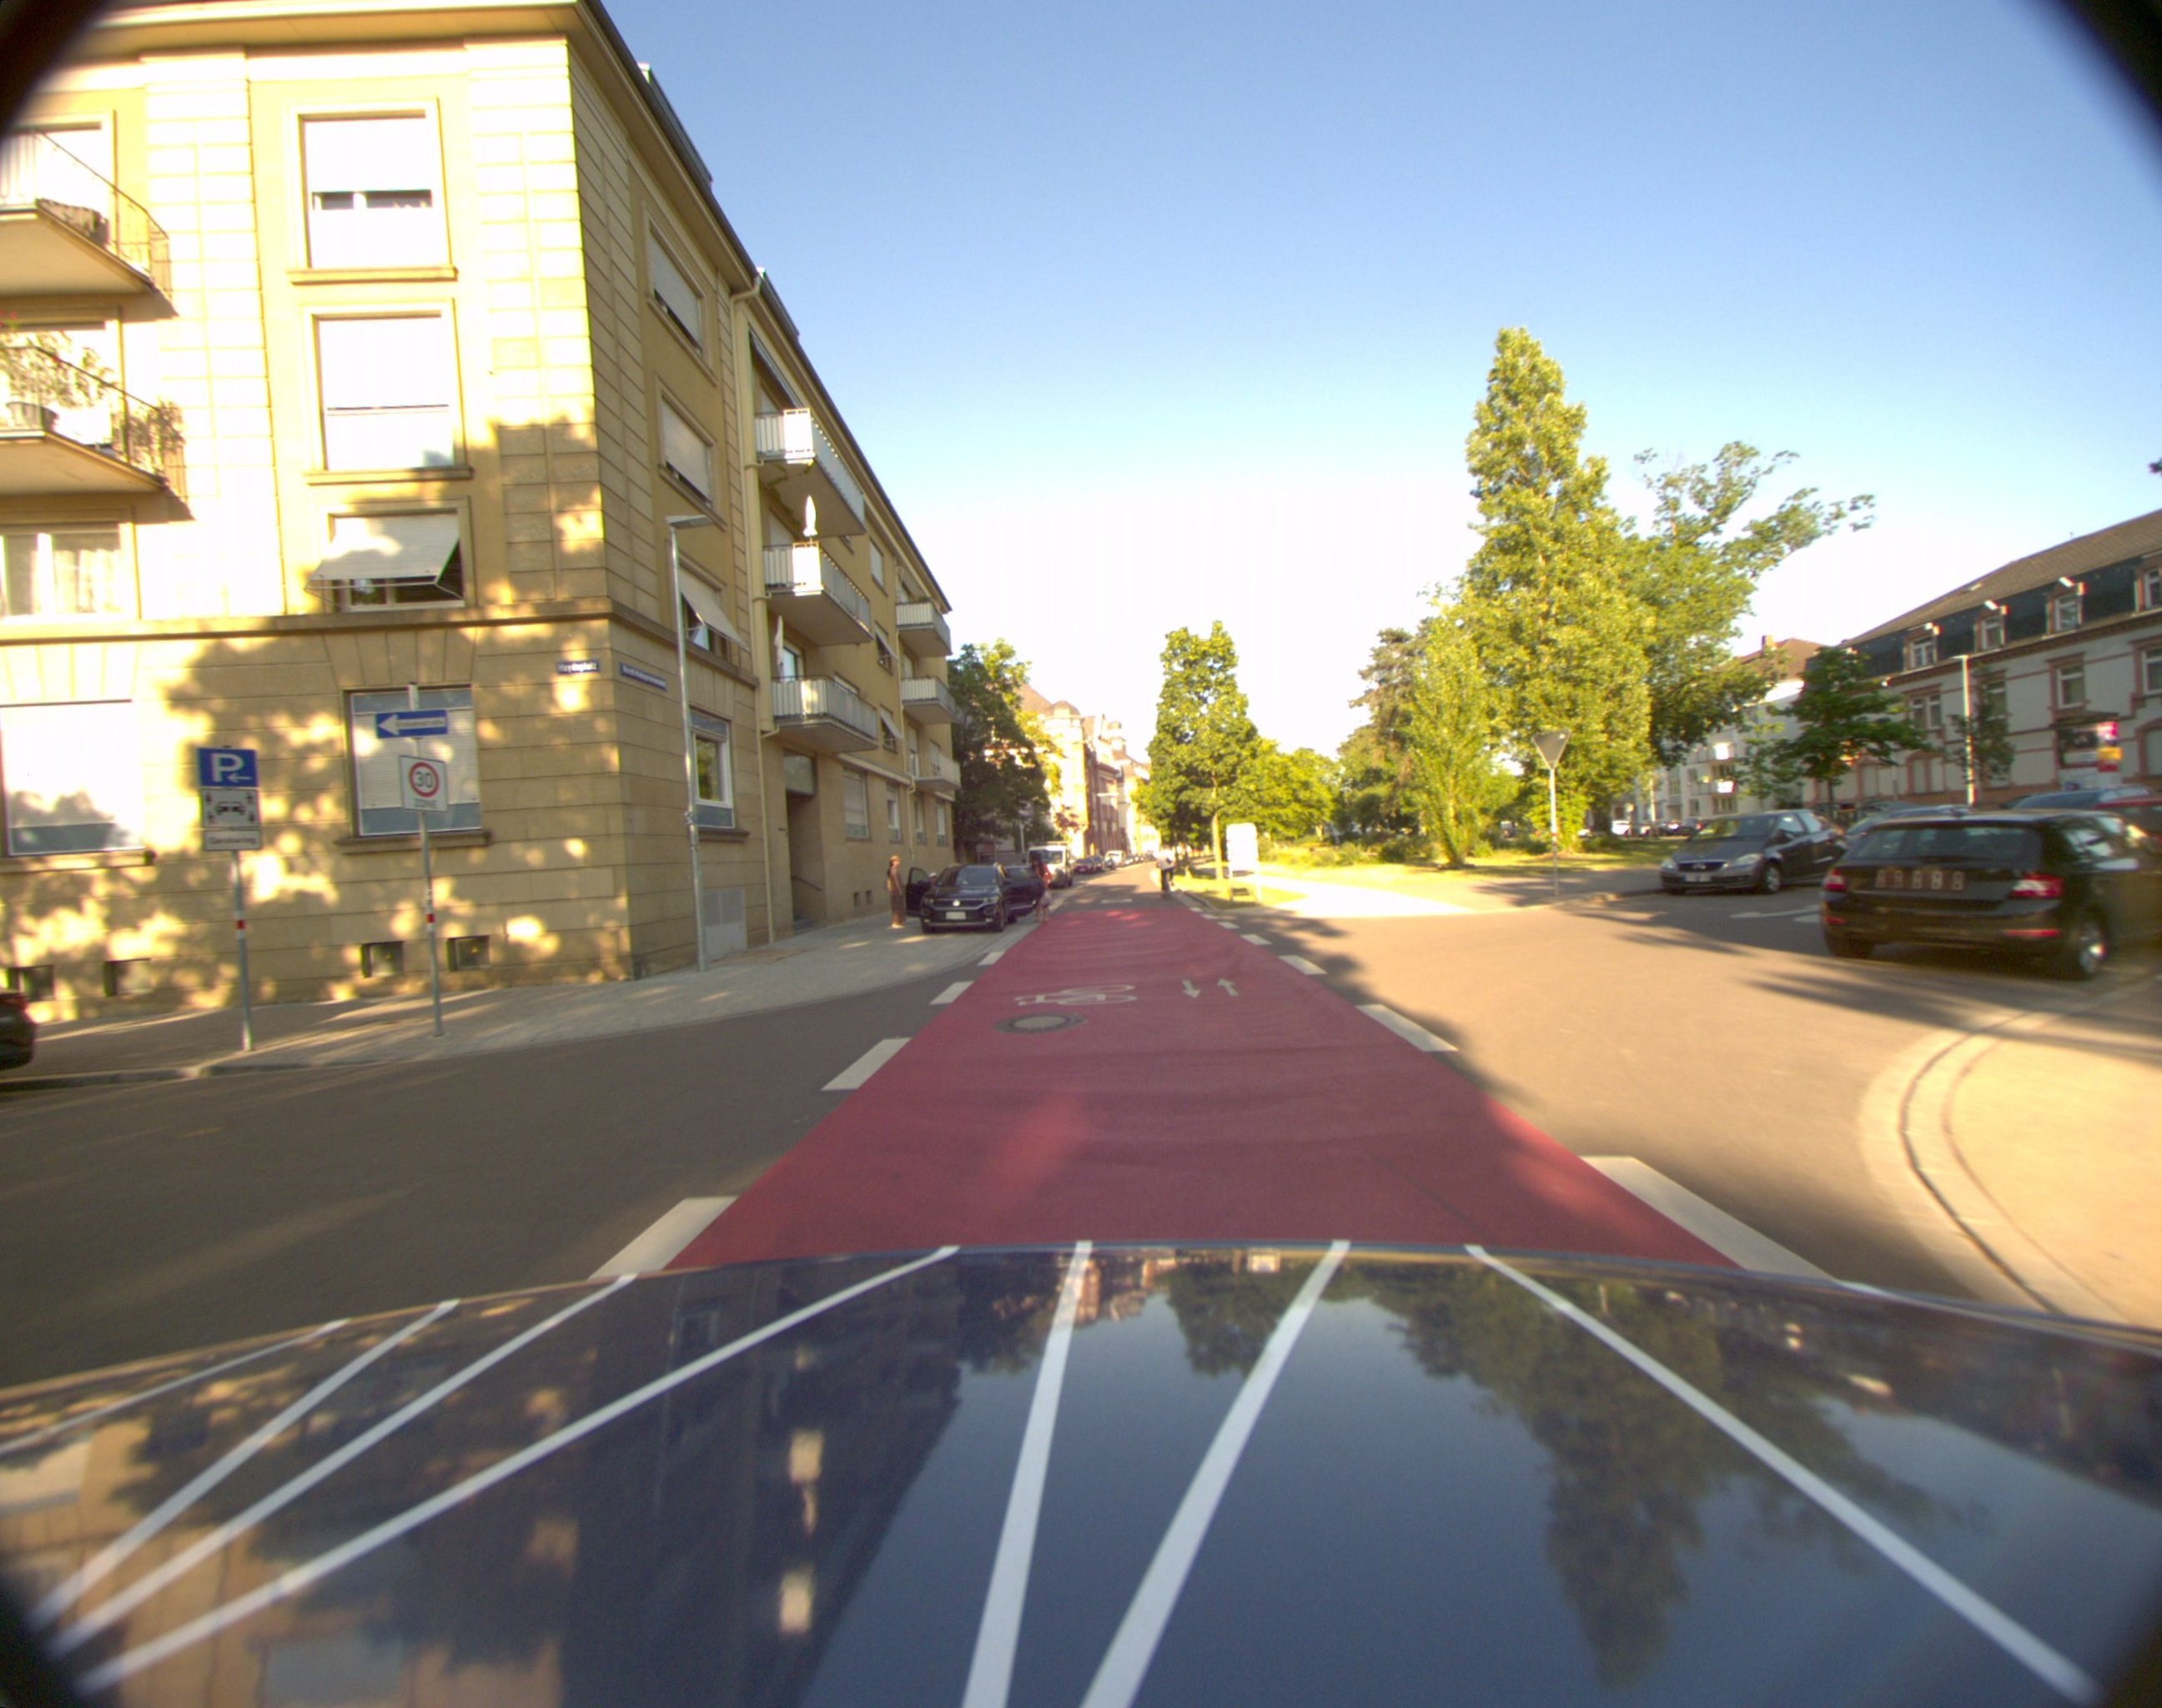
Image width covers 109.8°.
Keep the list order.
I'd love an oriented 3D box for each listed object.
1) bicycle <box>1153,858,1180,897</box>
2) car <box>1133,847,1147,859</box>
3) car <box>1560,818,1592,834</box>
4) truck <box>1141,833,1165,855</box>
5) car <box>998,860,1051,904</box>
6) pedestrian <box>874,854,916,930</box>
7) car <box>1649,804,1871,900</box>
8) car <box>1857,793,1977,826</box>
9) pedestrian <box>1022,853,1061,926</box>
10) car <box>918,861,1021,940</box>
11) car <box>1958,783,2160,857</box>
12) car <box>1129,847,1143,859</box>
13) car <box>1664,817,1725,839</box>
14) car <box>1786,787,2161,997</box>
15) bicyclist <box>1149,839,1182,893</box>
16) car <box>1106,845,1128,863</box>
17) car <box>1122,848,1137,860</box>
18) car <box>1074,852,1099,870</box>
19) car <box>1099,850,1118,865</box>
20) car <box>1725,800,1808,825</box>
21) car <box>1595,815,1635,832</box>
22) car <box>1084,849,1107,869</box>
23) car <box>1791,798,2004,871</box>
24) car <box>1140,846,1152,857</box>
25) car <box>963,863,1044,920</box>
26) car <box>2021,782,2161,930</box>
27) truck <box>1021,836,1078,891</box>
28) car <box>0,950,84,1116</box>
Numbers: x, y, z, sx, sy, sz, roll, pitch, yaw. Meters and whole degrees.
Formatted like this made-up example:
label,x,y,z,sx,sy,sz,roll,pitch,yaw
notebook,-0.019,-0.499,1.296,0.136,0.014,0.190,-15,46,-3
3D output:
label,x,y,z,sx,sy,sz,roll,pitch,yaw
bicycle,2.828,0.749,25.019,0.739,1.129,2.105,-4,1,8
car,8.667,-0.167,111.366,1.582,1.499,3.848,-3,1,8
car,55.829,-3.190,85.788,1.887,1.565,4.603,-3,2,19
truck,12.174,-1.714,127.751,3.018,3.423,7.629,-3,1,13
car,-2.074,1.015,28.890,1.707,1.412,4.035,-1,1,0
pedestrian,-4.640,0.944,18.998,0.733,1.820,0.555,-5,1,-35
car,13.717,-0.080,15.369,3.850,1.622,1.836,-4,1,-23
car,45.116,-2.389,41.163,1.888,1.565,4.600,-3,2,8
pedestrian,-0.986,0.876,19.281,0.778,1.759,0.955,-4,1,2
car,-2.536,0.999,18.268,1.707,1.616,4.349,-1,0,1
car,25.199,-0.877,19.594,4.279,1.634,1.837,-4,1,-18
car,7.660,-0.144,106.372,1.582,1.499,3.848,-3,1,8
car,49.617,-2.123,61.561,1.888,1.565,4.601,-3,2,12
car,9.458,0.214,7.724,4.004,1.565,1.887,-5,3,-23
bicyclist,2.802,0.372,25.014,0.939,1.693,0.906,-4,1,8
car,4.404,-0.046,91.542,2.118,1.942,4.763,-3,1,8
car,6.468,-0.025,100.578,1.582,1.499,3.848,-3,1,8
car,0.463,0.572,63.354,1.610,1.349,3.549,-3,1,7
car,2.884,0.370,79.142,1.509,1.437,3.731,-3,1,7
car,47.736,-2.889,53.068,1.889,1.565,4.598,-3,2,5
car,53.151,-3.039,75.677,1.887,1.565,4.602,-3,2,17
car,1.355,0.421,68.865,1.610,1.608,3.952,-3,1,7
car,18.730,-0.458,17.437,4.280,1.392,1.837,-4,1,-21
car,10.182,-0.359,118.271,1.582,1.499,3.848,-3,1,8
car,-2.240,1.050,23.125,1.707,1.412,4.349,-1,1,4
car,13.740,-0.085,9.250,4.004,1.565,1.887,-5,3,-23
truck,-1.546,0.403,40.021,2.133,2.549,6.877,-3,1,4
car,-11.905,1.778,6.262,4.452,1.411,1.935,-3,1,-4
